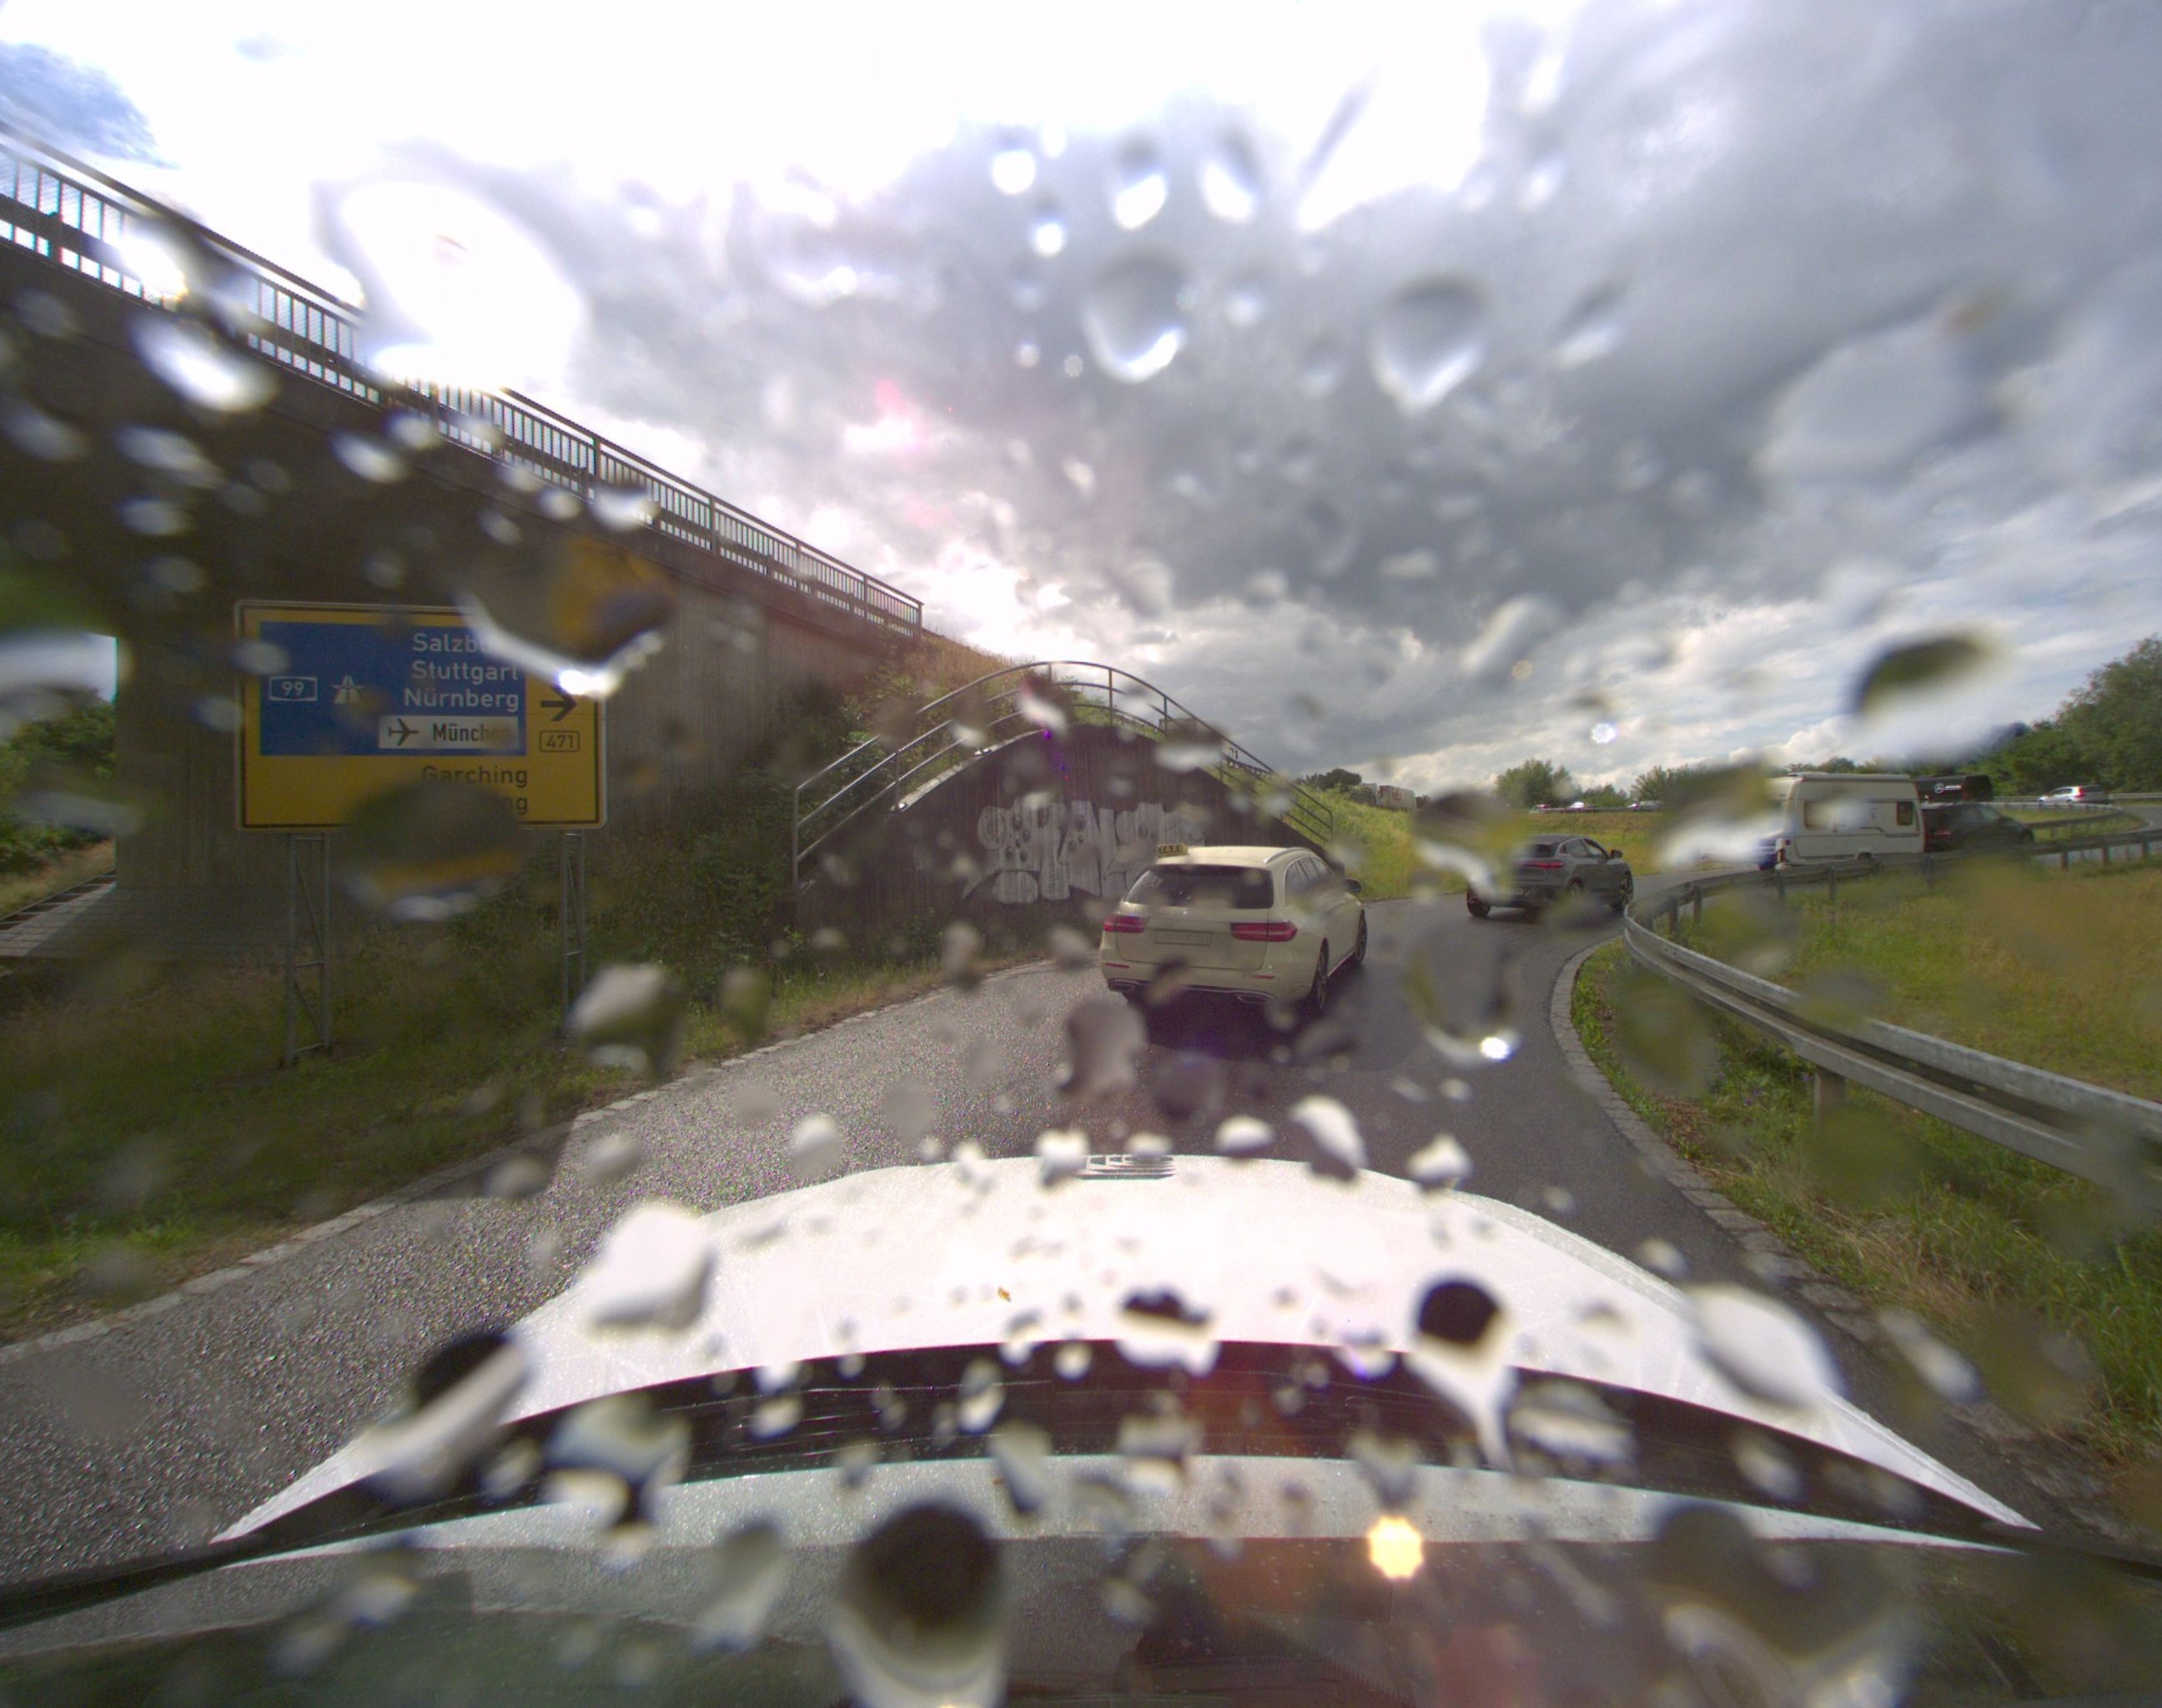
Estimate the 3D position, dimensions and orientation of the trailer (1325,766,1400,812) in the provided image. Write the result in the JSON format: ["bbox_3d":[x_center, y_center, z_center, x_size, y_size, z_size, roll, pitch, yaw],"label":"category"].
[{"bbox_3d":[35.757,-7.873,102.335,4.370,3.956,20.345,0,-1,32],"label":"trailer"}]

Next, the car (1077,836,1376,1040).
[{"bbox_3d":[1.828,0.603,8.506,1.898,1.507,4.623,-1,0,25],"label":"car"}]

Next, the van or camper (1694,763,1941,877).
[{"bbox_3d":[19.668,-0.930,21.763,6.002,2.729,2.422,-2,1,-20],"label":"van or camper"}]

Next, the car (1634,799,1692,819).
[{"bbox_3d":[66.216,-5.103,92.787,2.003,1.861,5.017,-2,0,-24],"label":"car"}]

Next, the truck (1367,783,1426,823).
[{"bbox_3d":[46.294,-7.197,118.880,4.417,4.503,19.498,0,-1,32],"label":"truck"}]

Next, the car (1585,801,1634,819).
[{"bbox_3d":[64.252,-5.326,99.085,2.007,1.861,4.465,-2,0,-32],"label":"car"}]

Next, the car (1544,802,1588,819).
[{"bbox_3d":[63.705,-5.658,107.049,1.997,1.861,5.030,-2,0,-15],"label":"car"}]

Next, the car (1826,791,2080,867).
[{"bbox_3d":[24.944,-0.728,23.379,5.746,1.925,2.426,-2,1,-12],"label":"car"}]

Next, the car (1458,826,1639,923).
[{"bbox_3d":[8.772,0.285,15.150,4.021,1.524,1.703,-2,2,-41],"label":"car"}]

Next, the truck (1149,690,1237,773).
[{"bbox_3d":[7.718,-7.985,54.557,3.151,3.966,9.290,0,-1,25],"label":"truck"}]

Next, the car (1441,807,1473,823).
[{"bbox_3d":[52.527,-5.438,113.748,3.950,2.014,1.838,0,-1,27],"label":"car"}]

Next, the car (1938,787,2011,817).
[{"bbox_3d":[69.896,-4.011,63.795,1.979,2.014,4.014,0,-1,13],"label":"car"}]

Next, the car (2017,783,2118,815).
[{"bbox_3d":[66.690,-3.668,55.183,1.648,1.784,5.077,-2,0,14],"label":"car"}]
